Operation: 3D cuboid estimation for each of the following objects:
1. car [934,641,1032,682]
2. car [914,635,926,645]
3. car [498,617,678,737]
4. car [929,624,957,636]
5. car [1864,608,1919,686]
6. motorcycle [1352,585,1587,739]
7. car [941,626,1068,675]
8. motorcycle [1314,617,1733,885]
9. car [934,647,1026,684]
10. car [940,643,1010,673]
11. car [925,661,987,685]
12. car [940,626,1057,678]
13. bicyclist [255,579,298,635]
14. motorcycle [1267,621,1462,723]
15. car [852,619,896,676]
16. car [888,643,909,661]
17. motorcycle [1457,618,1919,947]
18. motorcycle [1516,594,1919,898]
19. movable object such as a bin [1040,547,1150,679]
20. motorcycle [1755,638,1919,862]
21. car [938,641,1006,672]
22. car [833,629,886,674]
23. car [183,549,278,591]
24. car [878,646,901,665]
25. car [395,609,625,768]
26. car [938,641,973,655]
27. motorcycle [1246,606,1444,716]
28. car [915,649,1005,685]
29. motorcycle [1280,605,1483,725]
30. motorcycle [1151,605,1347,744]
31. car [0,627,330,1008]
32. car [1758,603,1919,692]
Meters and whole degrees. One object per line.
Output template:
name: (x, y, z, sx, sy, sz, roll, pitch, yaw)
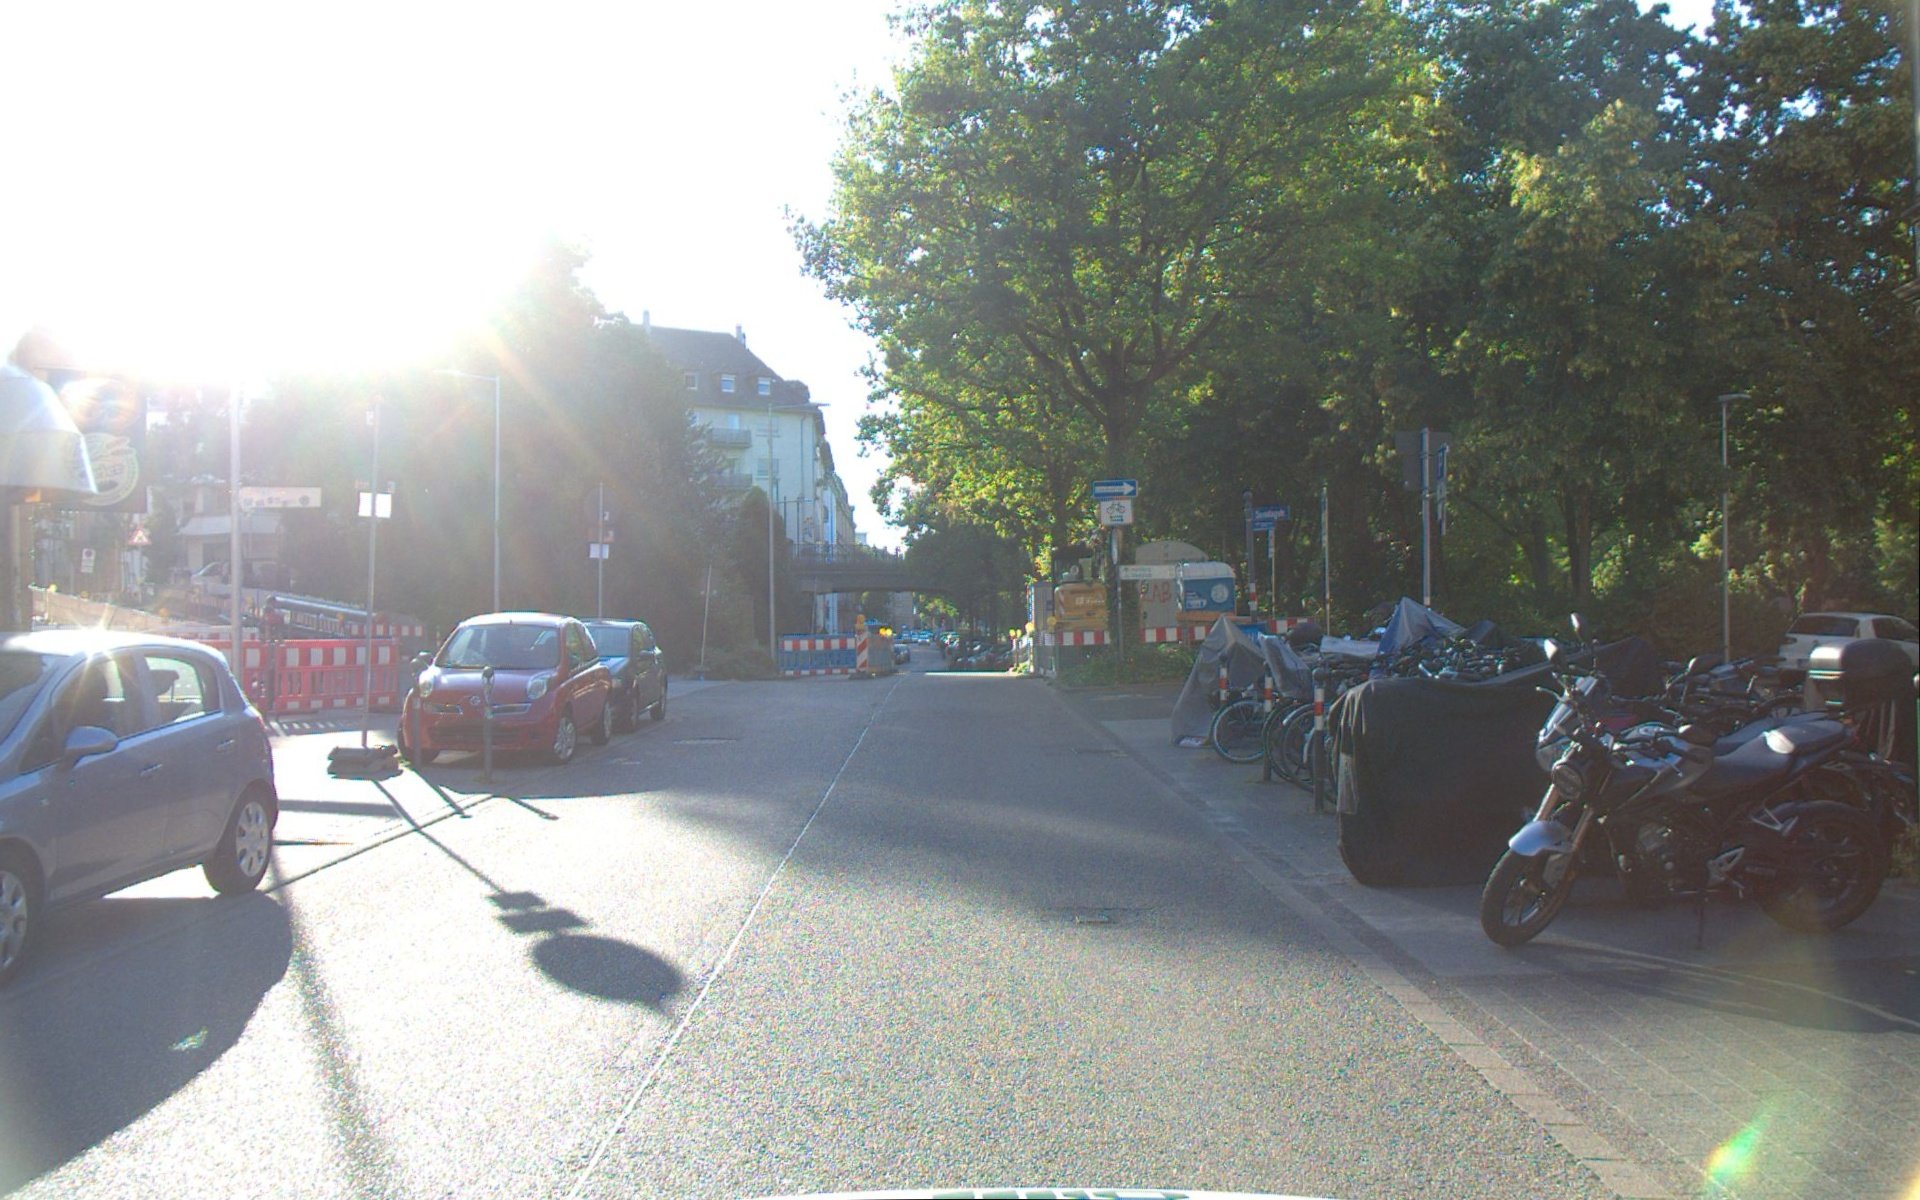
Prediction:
car: (1.001, 2.780, 74.453, 4.300, 1.732, 1.915, 1, -4, -3)
car: (-6.205, 6.185, 256.437, 1.776, 1.422, 3.973, -2, -3, -2)
car: (-5.033, 0.992, 22.884, 1.635, 1.483, 3.999, -1, 0, -1)
car: (-2.670, 4.696, 258.779, 4.298, 1.638, 1.780, 0, -4, -1)
car: (20.396, 1.033, 33.825, 3.957, 1.489, 1.857, 4, 0, -37)
motorcycle: (5.350, 0.636, 17.432, 2.239, 1.558, 0.755, -1, -1, -7)
car: (1.548, 1.807, 58.387, 4.301, 1.634, 1.914, 1, -4, -5)
motorcycle: (3.109, 0.805, 9.277, 1.983, 1.307, 0.903, -3, 0, -2)
car: (0.929, 3.128, 78.688, 4.300, 1.732, 1.915, 1, -4, -3)
car: (0.907, 3.650, 103.765, 4.300, 1.816, 1.915, 1, -4, -3)
car: (-0.302, 5.234, 118.805, 4.300, 1.638, 1.779, 1, -4, -3)
car: (1.548, 2.156, 67.644, 4.648, 2.032, 1.914, 1, -4, -4)
bicyclist: (-17.523, 0.184, 42.400, 0.797, 1.407, 0.973, 1, -1, -36)
motorcycle: (4.901, 0.868, 20.171, 2.234, 1.201, 0.972, -1, -1, 12)
car: (-4.077, 2.313, 78.385, 2.006, 2.541, 5.692, 1, -3, -3)
car: (-5.394, 4.590, 145.263, 1.776, 1.422, 3.973, -2, -3, -2)
motorcycle: (3.300, 0.773, 7.373, 1.975, 1.350, 0.620, -1, 0, -5)
motorcycle: (3.927, 0.701, 8.310, 1.982, 1.386, 0.694, -2, 0, -1)
movable object such as a bin: (3.000, 0.292, 36.174, 1.951, 2.747, 3.113, -1, -1, 12)
motorcycle: (5.660, 0.782, 9.228, 1.982, 1.128, 0.903, -2, 0, -2)
car: (0.755, 3.638, 105.919, 4.300, 1.895, 1.915, 1, -4, -3)
car: (-3.536, 1.835, 58.480, 1.681, 1.443, 4.104, -2, -3, -2)
car: (-36.839, -1.513, 83.604, 4.310, 2.049, 1.921, 0, 0, -23)
car: (-5.733, 4.510, 134.883, 1.776, 1.422, 3.973, -2, -3, -2)
car: (-4.874, 0.890, 18.435, 1.636, 1.557, 3.997, -1, -1, -3)
car: (-0.562, 6.019, 206.846, 4.298, 1.638, 1.780, 0, -4, -1)
motorcycle: (5.002, 0.775, 21.542, 2.322, 1.365, 0.938, -1, -1, -11)
car: (-0.018, 3.308, 81.378, 4.300, 1.732, 1.915, 1, -4, -3)
motorcycle: (4.880, 0.758, 19.286, 2.234, 1.365, 0.657, -1, -1, 11)
motorcycle: (3.133, 0.779, 17.928, 1.894, 1.437, 0.940, -1, -1, 27)
car: (-4.709, 0.905, 8.105, 1.690, 1.462, 3.995, 1, 0, 0)
car: (16.842, 0.906, 30.899, 3.957, 1.437, 1.857, 4, 0, -37)
